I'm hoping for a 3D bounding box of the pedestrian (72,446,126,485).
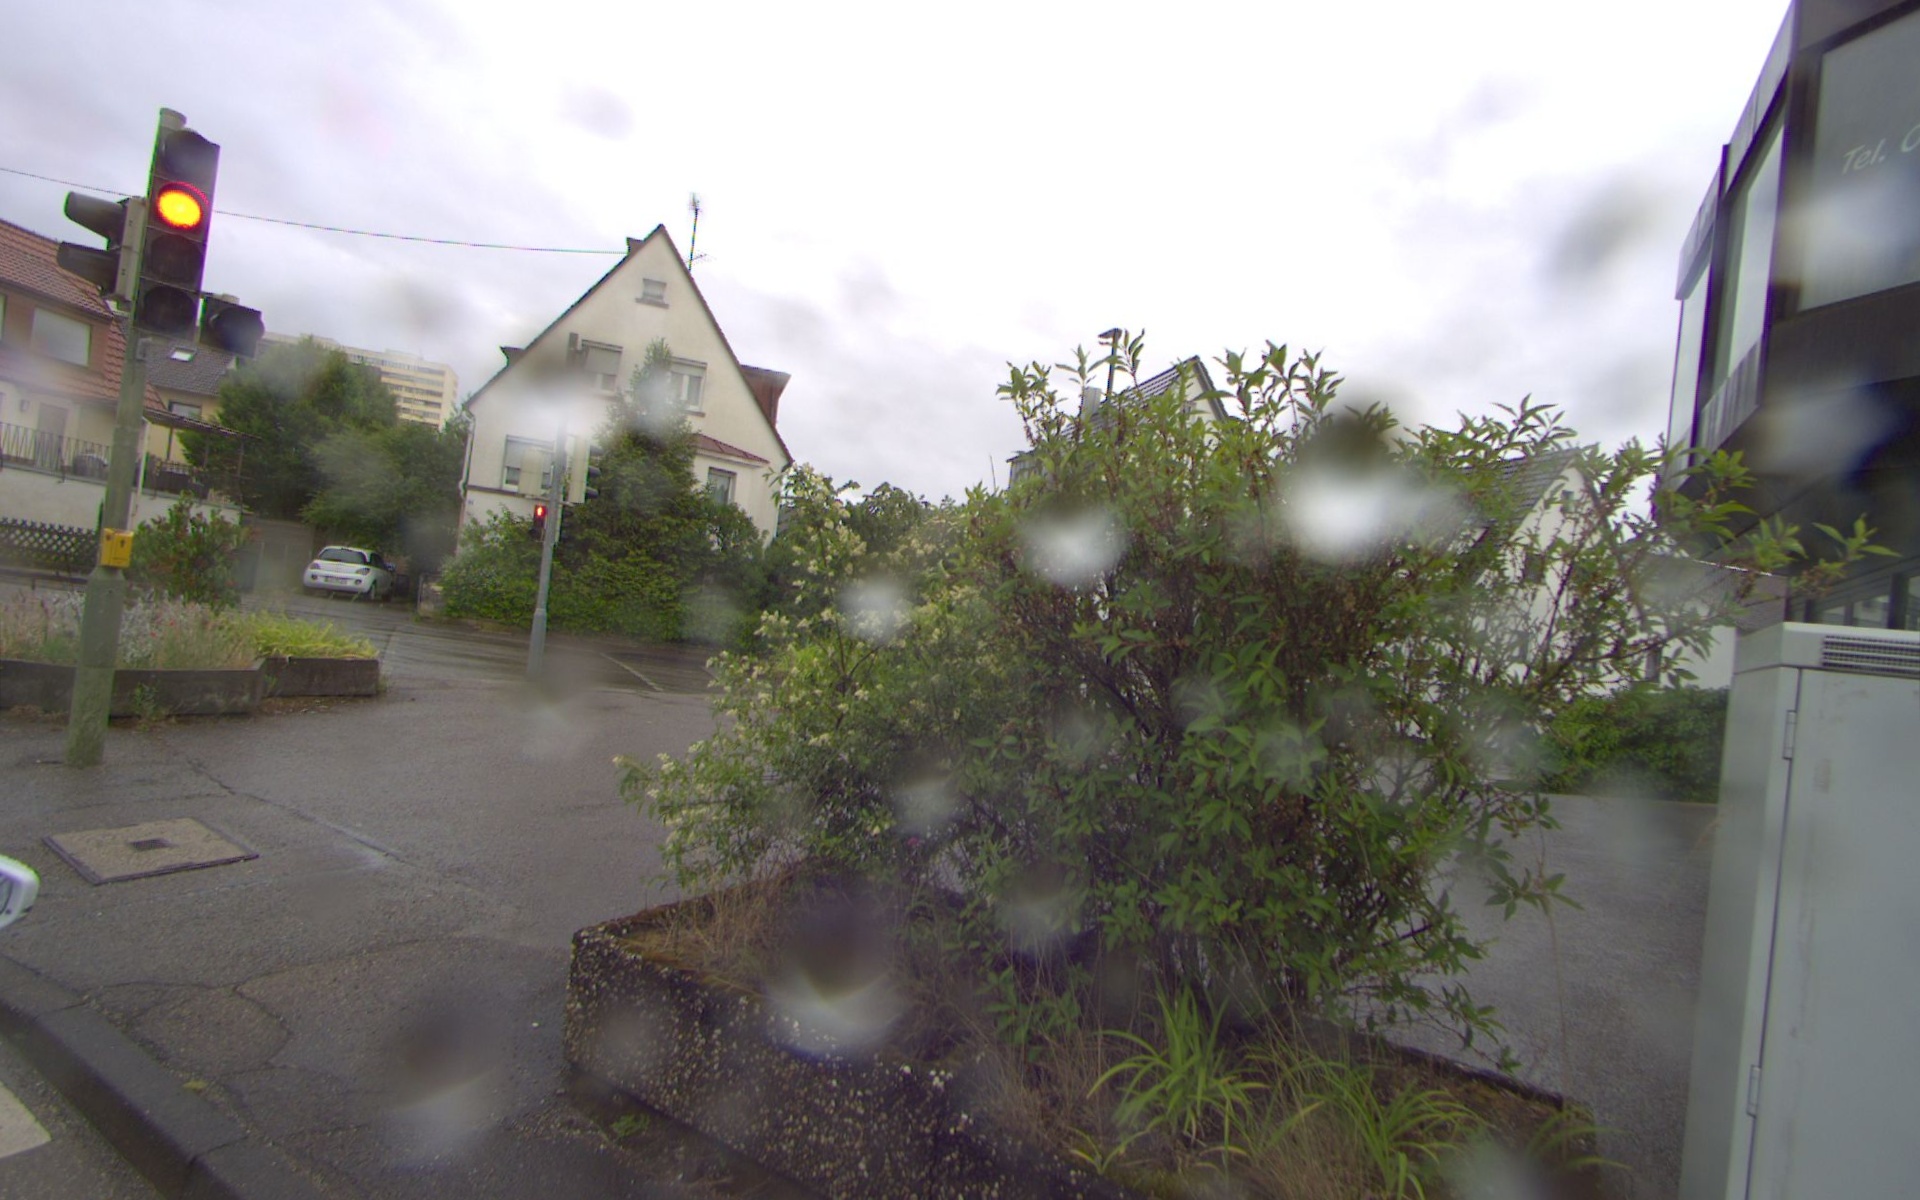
[{"bbox_3d":[-24.270,-3.794,28.369,0.623,0.893,0.920,5,-2,13],"label":"pedestrian"}]

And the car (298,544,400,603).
[{"bbox_3d":[-17.755,-0.736,29.419,1.794,1.378,3.981,8,-2,-22],"label":"car"}]
